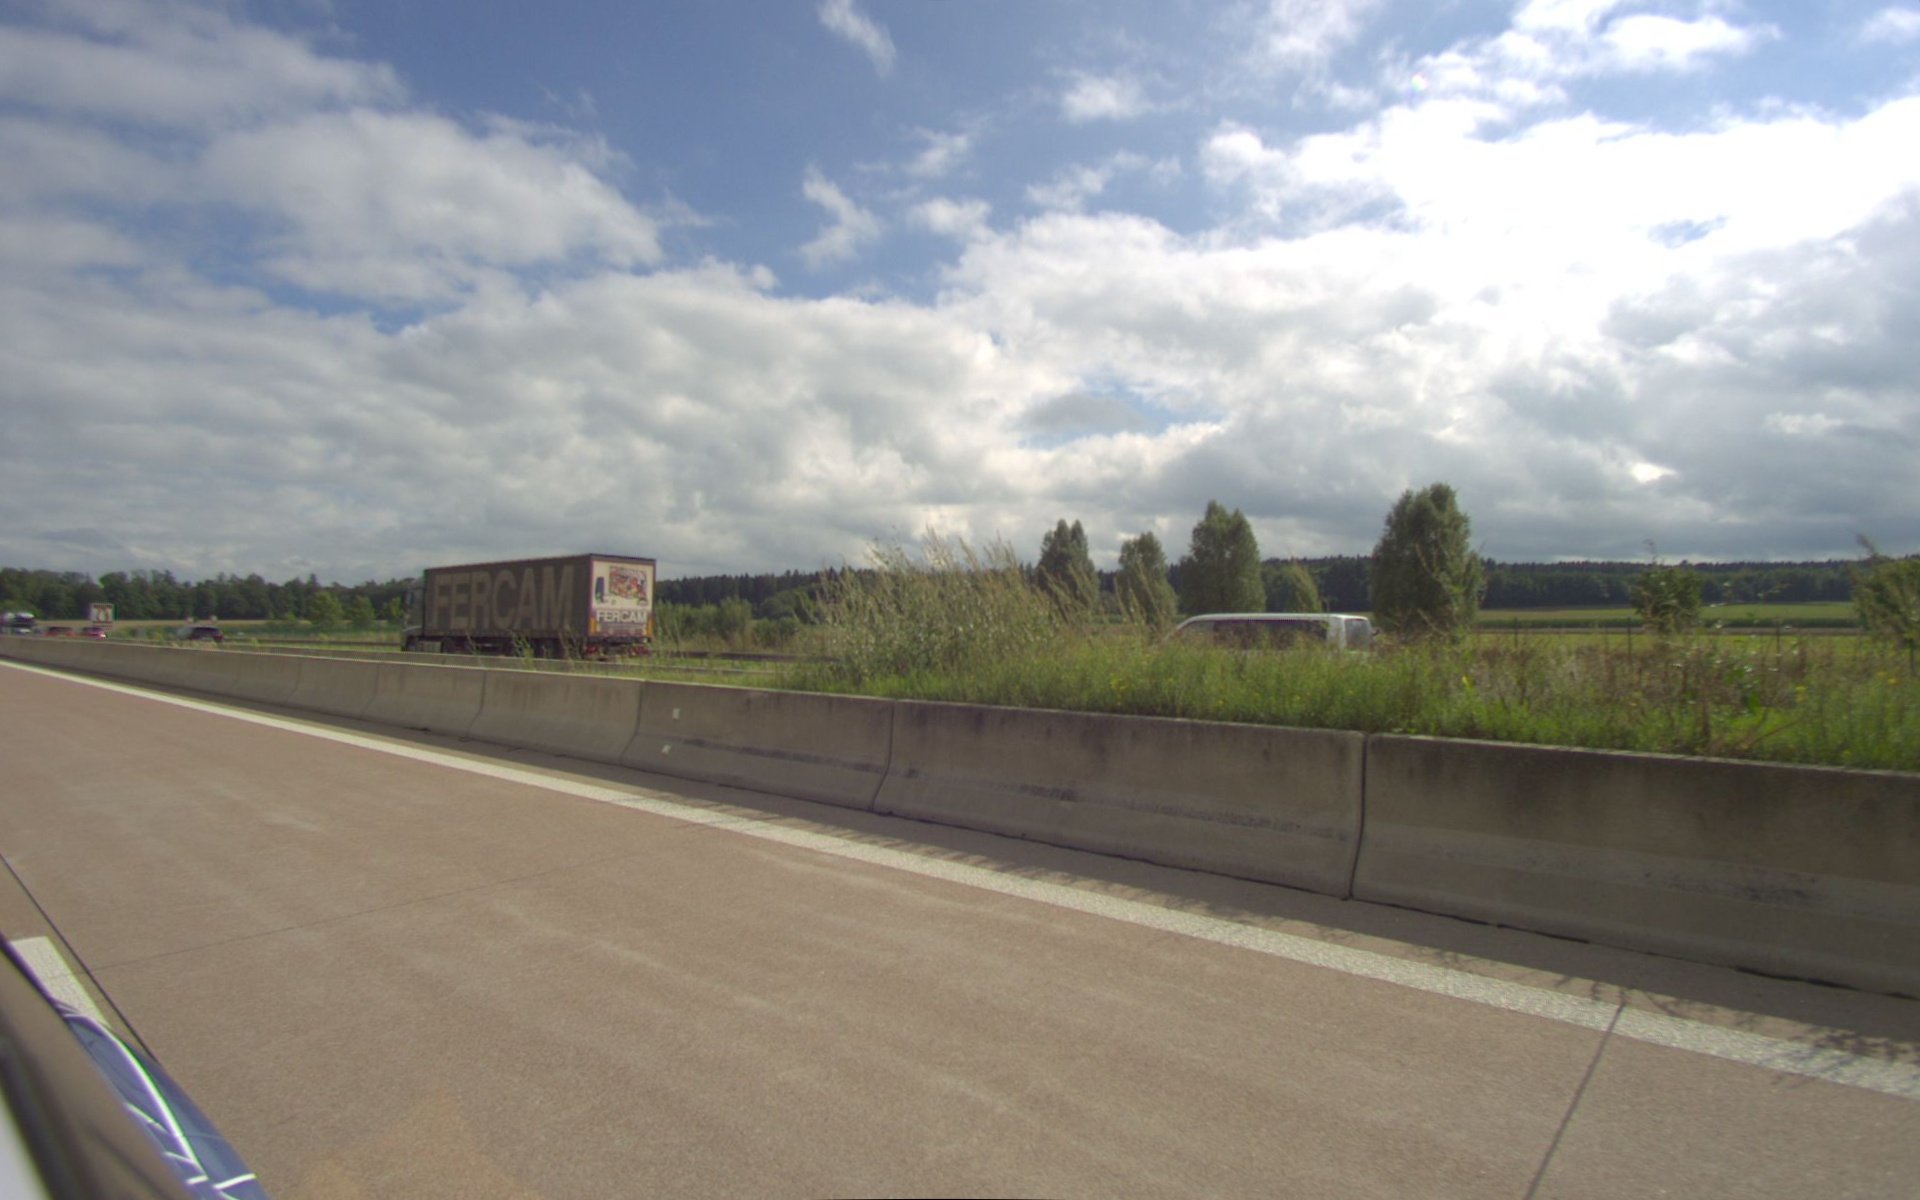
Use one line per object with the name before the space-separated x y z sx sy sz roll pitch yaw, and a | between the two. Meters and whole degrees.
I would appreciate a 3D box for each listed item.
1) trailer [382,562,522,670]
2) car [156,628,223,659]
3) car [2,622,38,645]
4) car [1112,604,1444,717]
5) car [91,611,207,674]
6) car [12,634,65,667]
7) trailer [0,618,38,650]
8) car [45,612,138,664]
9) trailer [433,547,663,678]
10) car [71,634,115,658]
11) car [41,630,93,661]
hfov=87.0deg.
trailer | -22.070 0.685 43.796 7.006 4.280 2.976 -2 0 42
car | -43.101 2.383 56.571 5.215 1.587 1.973 -2 0 41
car | -88.997 3.179 95.819 5.049 2.029 1.965 -1 0 41
car | 5.882 1.066 19.329 5.725 1.860 2.037 -1 -2 41
car | -23.794 1.218 29.652 4.080 1.675 1.952 -2 0 41
car | -60.283 3.272 66.161 5.215 1.997 1.973 -1 0 41
trailer | -129.094 4.626 138.235 16.321 4.008 3.160 -2 0 42
car | -30.639 1.322 35.678 4.431 1.675 1.864 -2 0 41
trailer | -15.950 0.502 38.365 12.090 4.296 2.990 -2 0 42
car | -68.029 3.577 79.365 4.487 1.675 1.953 -1 0 41
car | -36.231 1.829 41.036 2.756 1.160 1.210 -2 0 41
